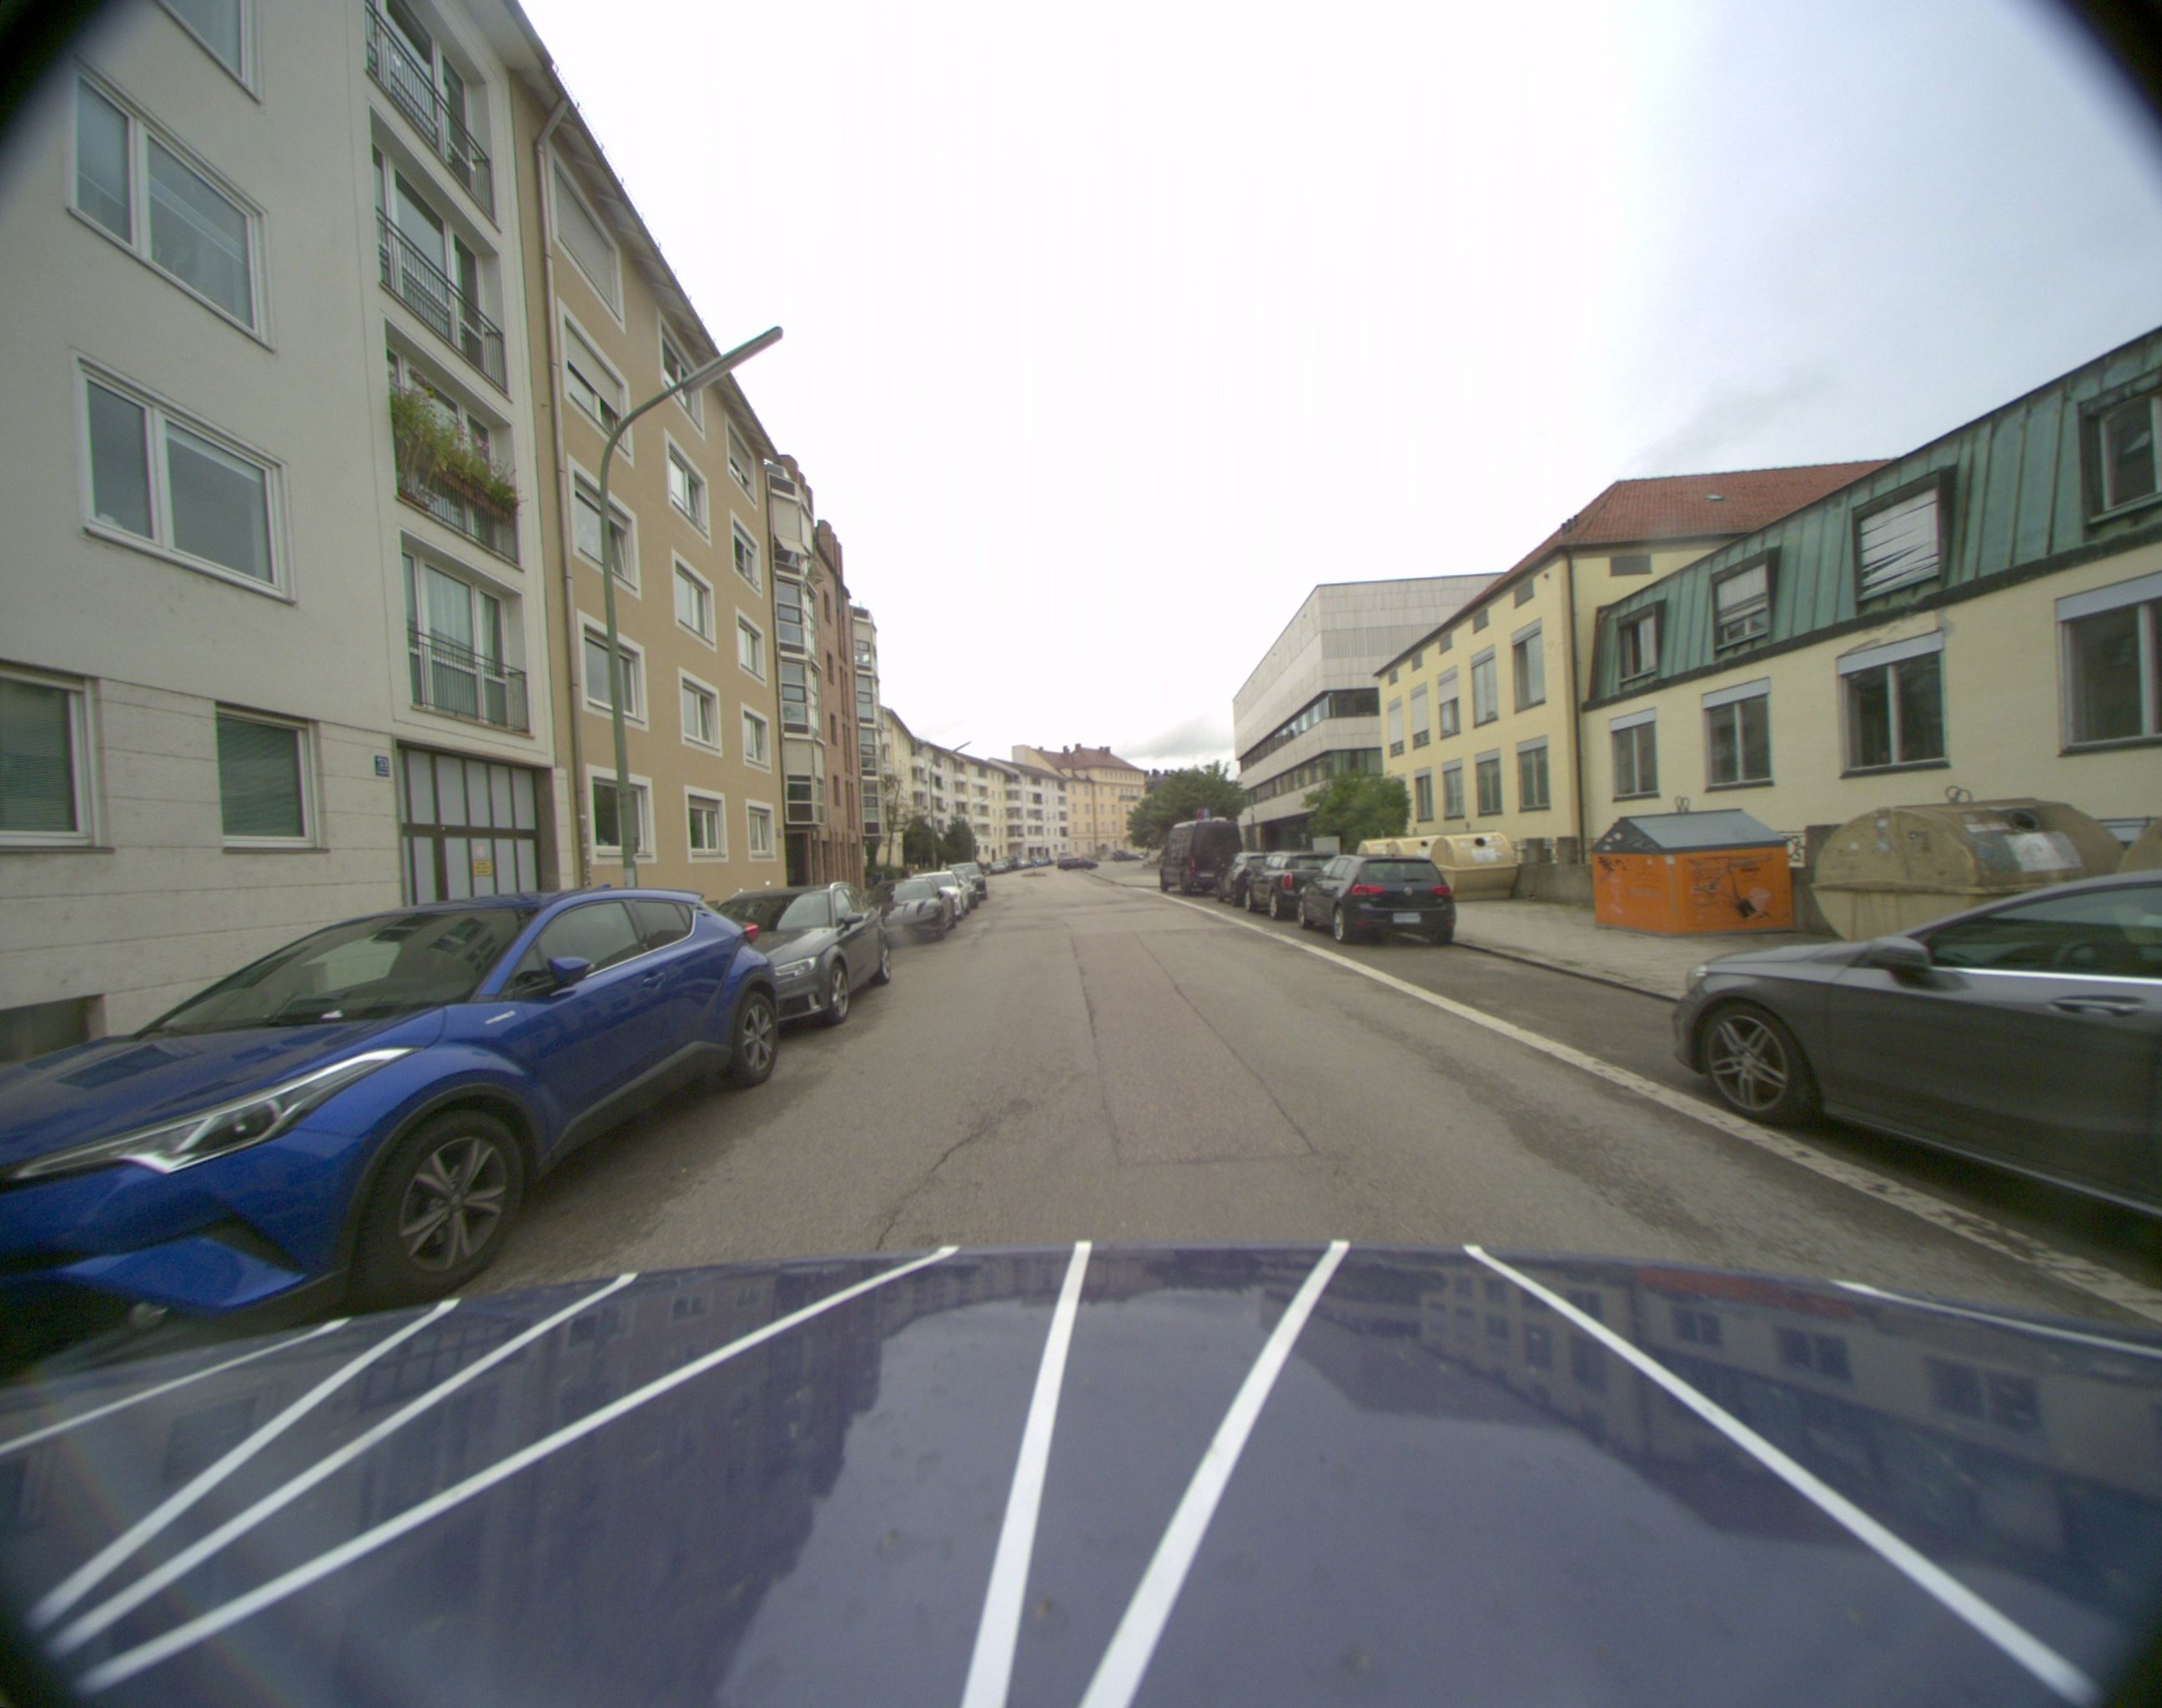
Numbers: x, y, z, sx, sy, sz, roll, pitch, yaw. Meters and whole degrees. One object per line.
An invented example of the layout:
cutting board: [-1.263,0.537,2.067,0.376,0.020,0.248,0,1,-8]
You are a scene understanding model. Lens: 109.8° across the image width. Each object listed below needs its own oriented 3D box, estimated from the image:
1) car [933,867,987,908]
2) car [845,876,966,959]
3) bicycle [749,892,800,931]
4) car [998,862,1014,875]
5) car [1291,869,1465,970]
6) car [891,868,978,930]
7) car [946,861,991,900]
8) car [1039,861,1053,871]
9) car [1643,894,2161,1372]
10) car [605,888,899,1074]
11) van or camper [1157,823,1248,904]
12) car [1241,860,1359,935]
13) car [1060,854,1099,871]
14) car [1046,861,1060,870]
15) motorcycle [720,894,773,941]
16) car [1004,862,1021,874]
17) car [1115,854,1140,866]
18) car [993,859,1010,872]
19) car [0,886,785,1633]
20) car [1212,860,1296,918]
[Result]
car: [-4.466,1.207,28.508,1.742,1.332,4.163,-1,0,-6]
car: [-3.849,1.332,17.491,1.896,1.388,4.489,-5,0,-4]
bicycle: [-9.363,1.729,23.341,0.712,1.012,2.398,-2,0,-4]
car: [-8.980,1.687,90.710,1.757,1.445,3.567,-2,0,-7]
car: [4.971,1.013,13.311,1.699,1.396,4.001,1,0,4]
car: [-4.319,1.284,23.095,1.896,1.454,4.489,-6,0,-4]
car: [-4.934,1.132,33.706,1.742,1.569,3.832,-2,0,-6]
car: [-5.504,1.913,121.250,1.755,1.445,3.571,-2,0,4]
car: [4.320,0.953,2.556,1.798,1.396,4.127,1,0,0]
car: [-3.410,1.211,8.839,1.745,1.388,4.199,-3,0,-4]
van or camper: [4.508,0.352,29.112,2.142,2.791,5.570,-1,0,-5]
car: [5.091,0.948,18.150,1.700,1.553,3.867,1,0,0]
car: [-0.199,0.965,84.541,4.247,1.849,1.999,-1,0,-3]
car: [-4.670,1.940,127.303,1.755,1.445,3.571,-2,0,4]
motorcycle: [-9.018,1.678,20.558,0.629,1.119,1.798,-2,0,-2]
car: [-8.634,1.734,95.733,1.756,1.445,3.569,-2,0,-1]
car: [7.412,0.923,120.710,3.996,1.849,2.000,-1,0,3]
car: [-9.032,1.266,86.215,1.757,1.445,3.567,-1,0,-7]
car: [-3.303,1.086,3.876,1.745,1.578,4.201,-4,0,1]
car: [5.059,0.970,22.703,1.642,1.553,3.839,1,0,0]
